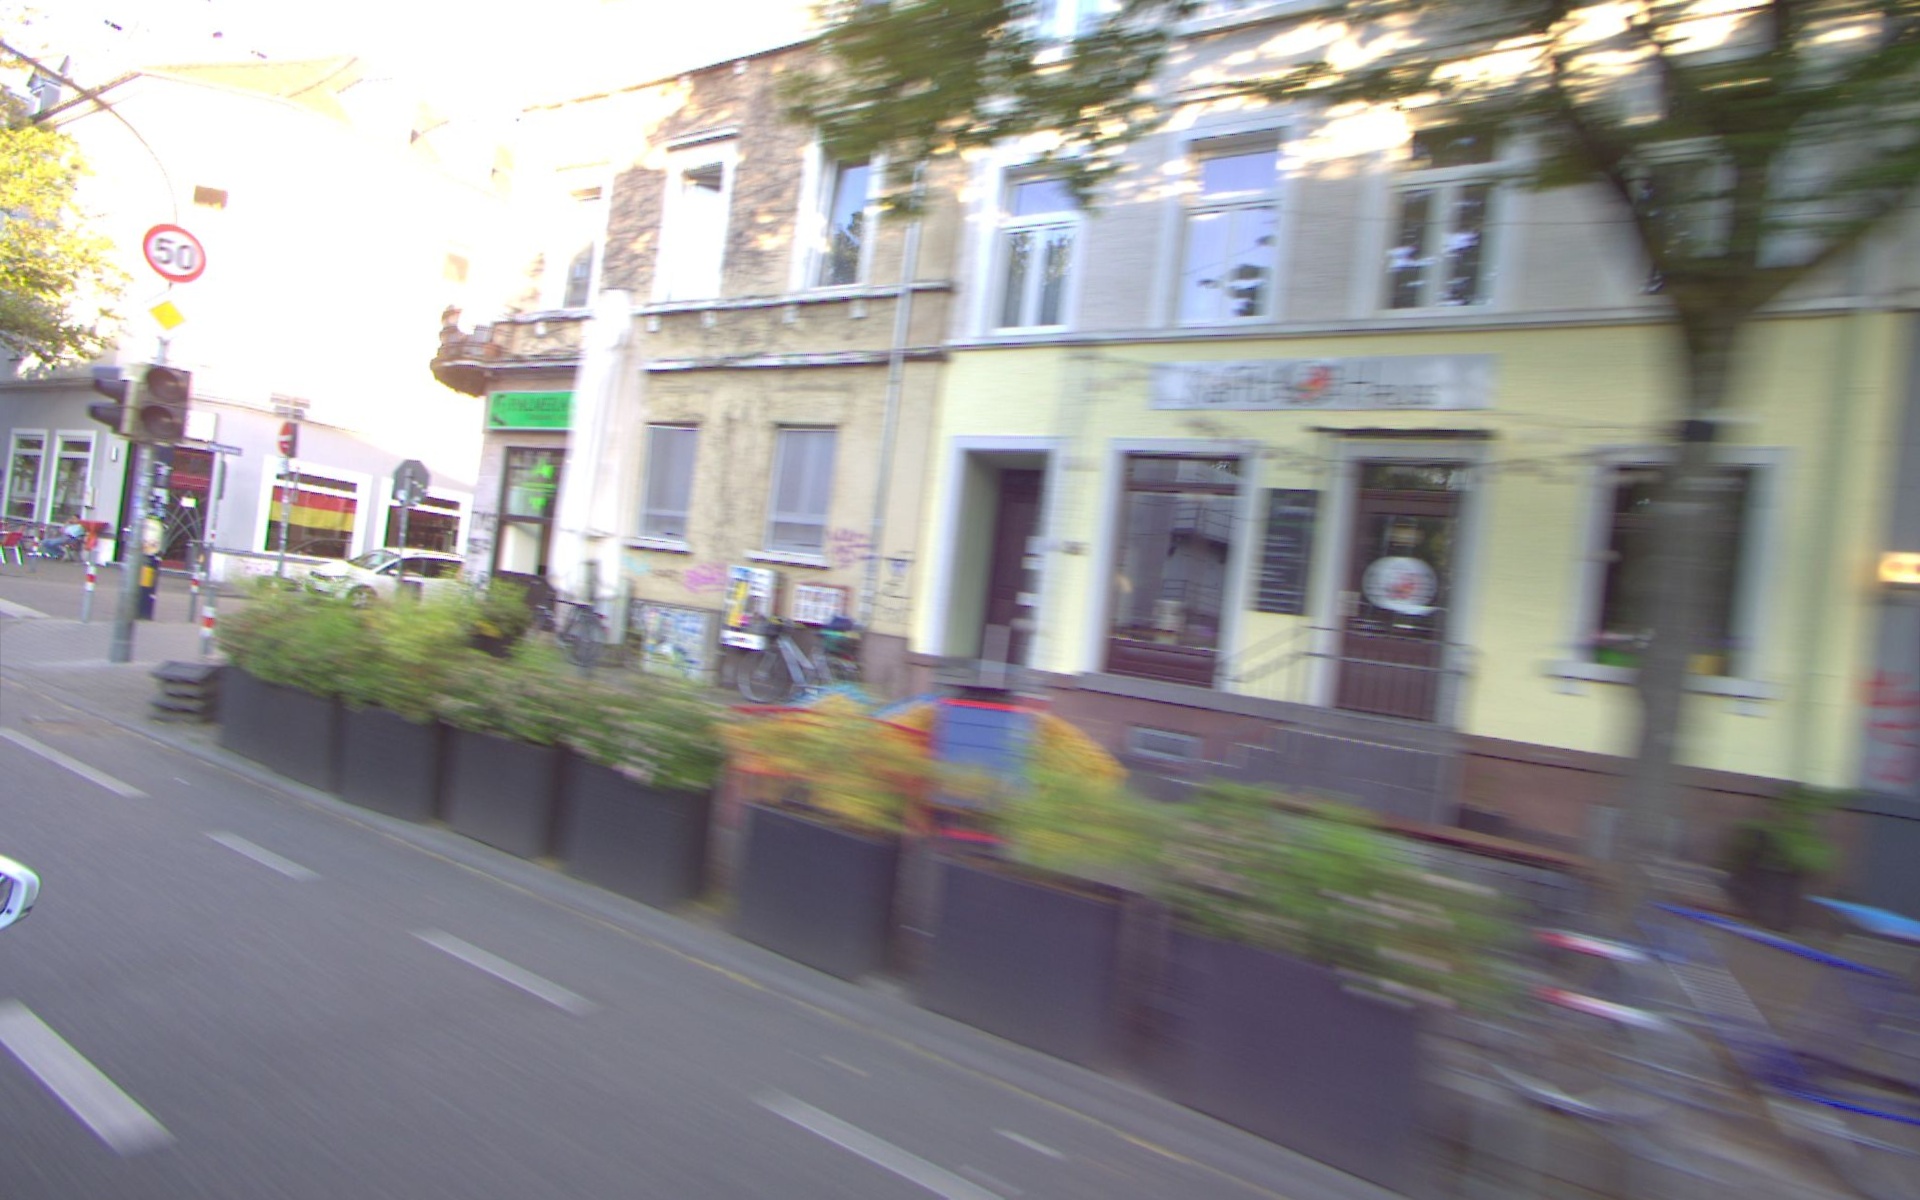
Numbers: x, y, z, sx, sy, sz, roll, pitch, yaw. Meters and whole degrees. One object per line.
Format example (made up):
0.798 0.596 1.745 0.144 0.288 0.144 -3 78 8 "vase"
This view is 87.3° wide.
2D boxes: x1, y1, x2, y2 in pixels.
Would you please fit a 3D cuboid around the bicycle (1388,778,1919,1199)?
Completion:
2.604 1.368 3.318 1.993 1.138 0.763 7 -1 32 "bicycle"

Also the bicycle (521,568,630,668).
-5.524 0.249 14.420 1.559 1.224 0.470 7 -1 32 "bicycle"

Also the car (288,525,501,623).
-14.703 -0.616 26.381 1.878 1.861 4.326 6 -3 37 "car"

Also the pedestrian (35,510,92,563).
-22.141 -1.556 24.852 0.678 1.168 0.652 7 -1 8 "pedestrian"

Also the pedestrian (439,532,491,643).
-8.704 -0.229 17.692 0.553 1.855 0.608 8 2 -22 "pedestrian"

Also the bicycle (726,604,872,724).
-1.989 0.767 12.309 1.753 1.224 0.470 7 -1 32 "bicycle"

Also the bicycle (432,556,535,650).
-7.258 0.039 15.303 1.559 1.224 0.524 7 -1 32 "bicycle"
